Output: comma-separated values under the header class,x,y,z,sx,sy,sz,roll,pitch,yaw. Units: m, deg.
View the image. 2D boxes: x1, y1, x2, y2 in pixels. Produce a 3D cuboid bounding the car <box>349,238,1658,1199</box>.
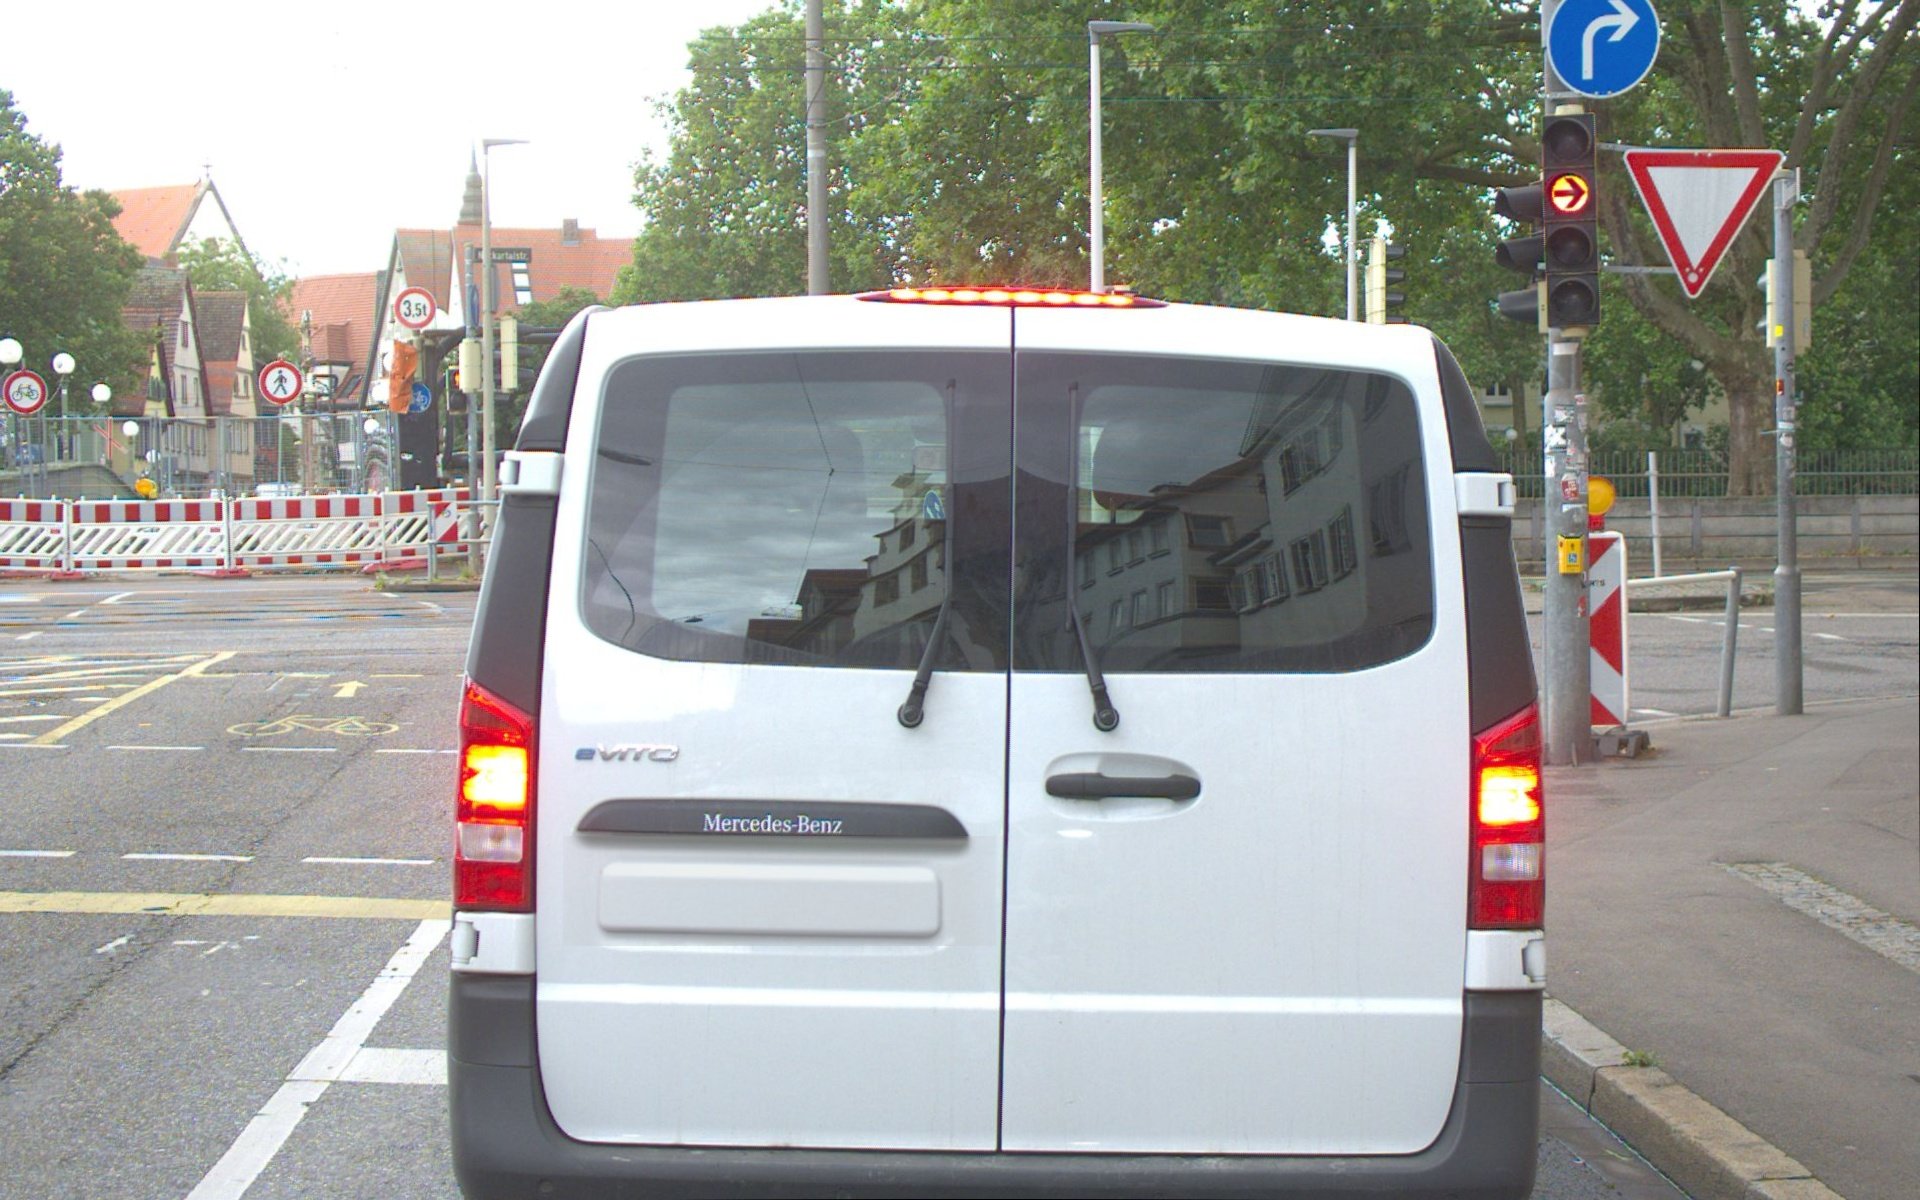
class,x,y,z,sx,sy,sz,roll,pitch,yaw
car,-0.059,0.315,7.397,1.993,1.916,4.250,1,3,-3
